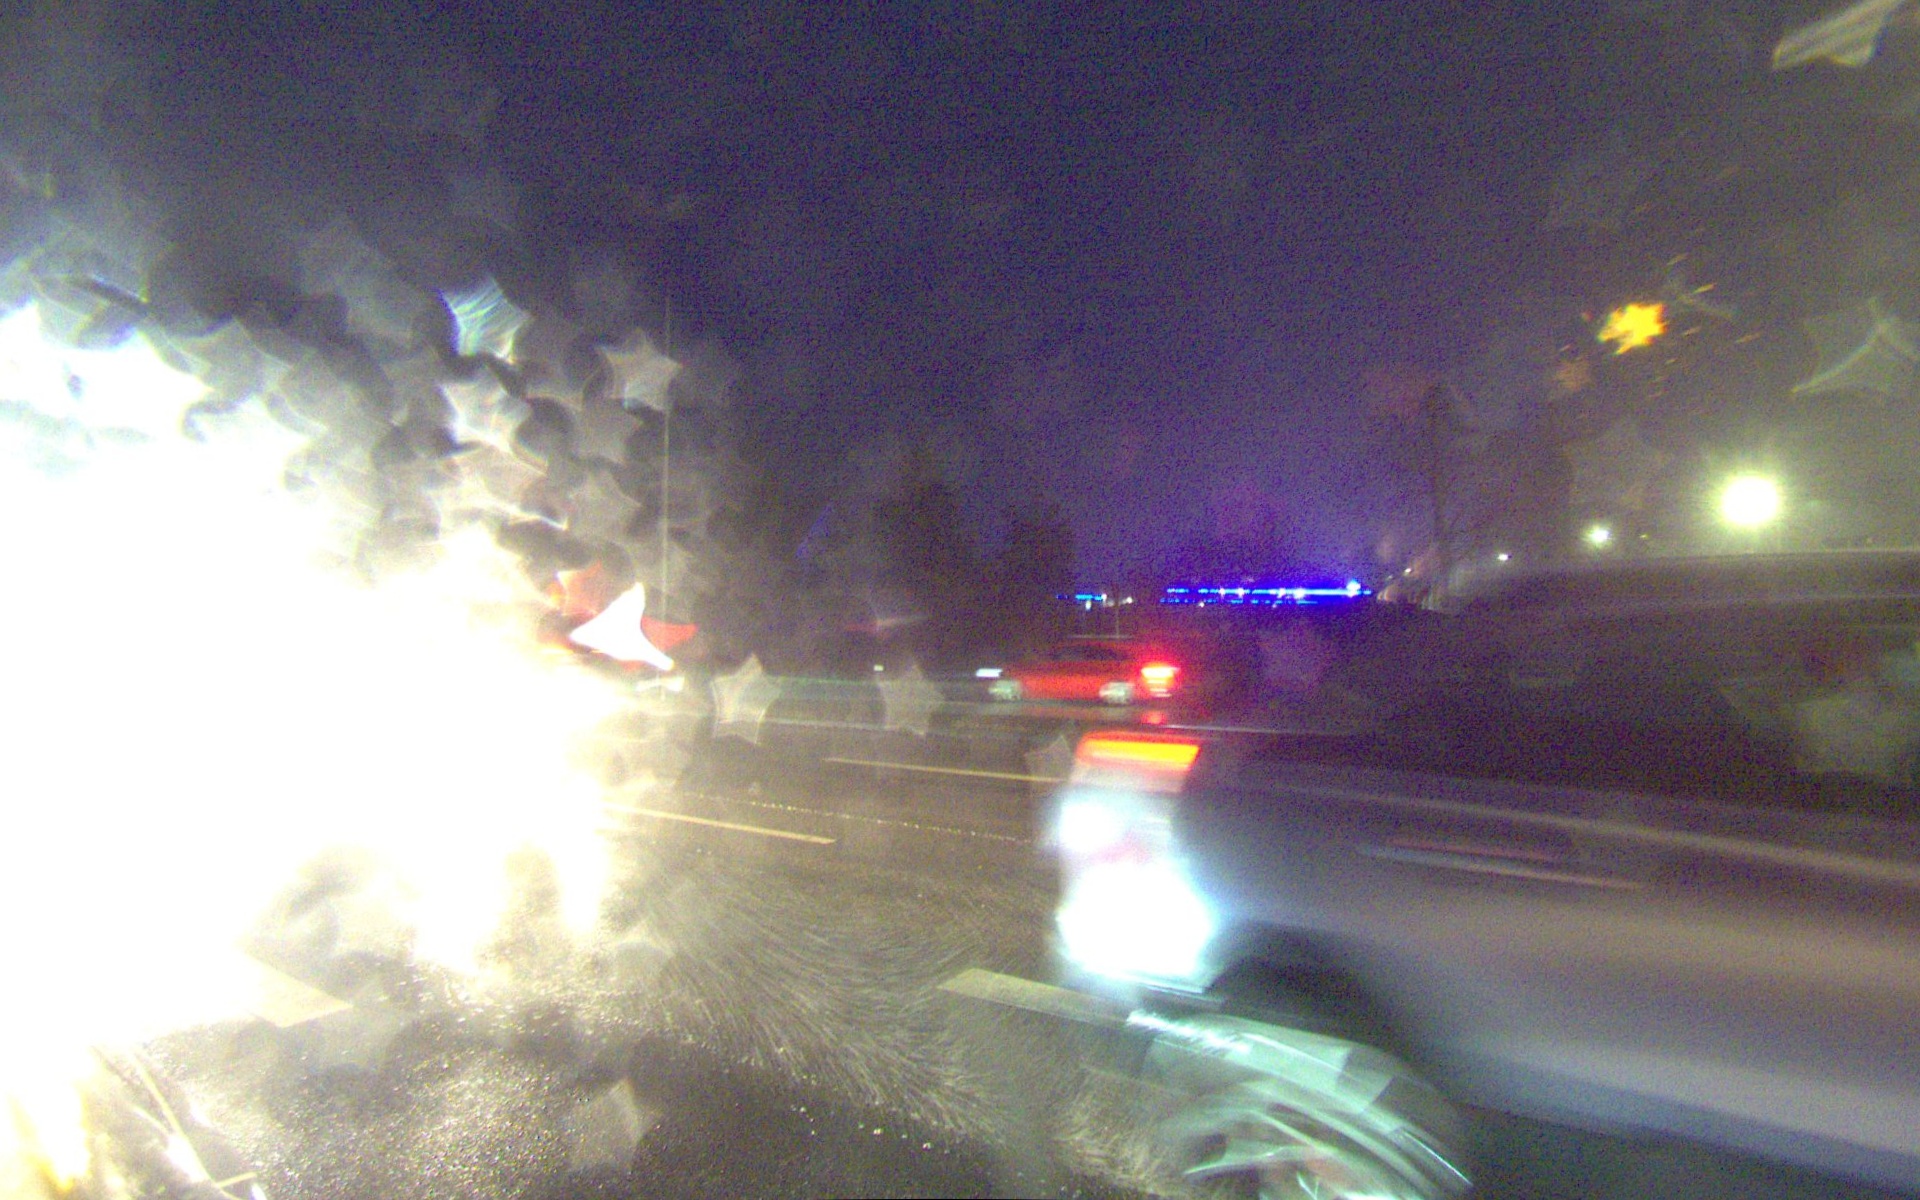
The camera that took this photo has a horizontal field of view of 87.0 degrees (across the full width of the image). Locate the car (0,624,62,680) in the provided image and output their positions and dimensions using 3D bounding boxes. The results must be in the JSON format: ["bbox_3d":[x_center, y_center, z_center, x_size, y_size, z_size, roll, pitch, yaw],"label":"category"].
[{"bbox_3d":[-27.187,1.445,28.978,4.172,1.456,1.658,-1,0,41],"label":"car"}]

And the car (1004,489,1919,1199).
[{"bbox_3d":[2.277,0.625,2.217,4.012,1.603,1.835,0,0,34],"label":"car"}]

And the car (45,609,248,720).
[{"bbox_3d":[-15.184,1.082,18.808,4.716,1.807,1.974,-1,0,39],"label":"car"}]

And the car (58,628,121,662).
[{"bbox_3d":[-48.687,2.475,56.583,4.632,1.751,1.836,-1,0,38],"label":"car"}]

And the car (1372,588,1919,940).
[{"bbox_3d":[4.421,0.671,4.874,4.277,1.447,1.723,-1,0,33],"label":"car"}]

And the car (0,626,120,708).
[{"bbox_3d":[-20.810,1.435,23.041,4.233,1.607,1.766,0,-1,39],"label":"car"}]

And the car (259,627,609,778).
[{"bbox_3d":[-6.154,1.050,11.725,4.109,1.418,1.816,-1,0,33],"label":"car"}]

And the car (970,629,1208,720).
[{"bbox_3d":[2.776,1.564,22.067,4.764,1.806,2.016,-2,-2,29],"label":"car"}]

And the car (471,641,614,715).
[{"bbox_3d":[-12.036,2.156,29.073,4.200,1.848,1.975,-1,-1,37],"label":"car"}]

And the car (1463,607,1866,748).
[{"bbox_3d":[9.734,1.016,14.445,4.445,1.733,1.886,-1,-3,32],"label":"car"}]

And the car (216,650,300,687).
[{"bbox_3d":[-29.348,2.837,42.308,3.871,1.306,1.618,0,0,34],"label":"car"}]
